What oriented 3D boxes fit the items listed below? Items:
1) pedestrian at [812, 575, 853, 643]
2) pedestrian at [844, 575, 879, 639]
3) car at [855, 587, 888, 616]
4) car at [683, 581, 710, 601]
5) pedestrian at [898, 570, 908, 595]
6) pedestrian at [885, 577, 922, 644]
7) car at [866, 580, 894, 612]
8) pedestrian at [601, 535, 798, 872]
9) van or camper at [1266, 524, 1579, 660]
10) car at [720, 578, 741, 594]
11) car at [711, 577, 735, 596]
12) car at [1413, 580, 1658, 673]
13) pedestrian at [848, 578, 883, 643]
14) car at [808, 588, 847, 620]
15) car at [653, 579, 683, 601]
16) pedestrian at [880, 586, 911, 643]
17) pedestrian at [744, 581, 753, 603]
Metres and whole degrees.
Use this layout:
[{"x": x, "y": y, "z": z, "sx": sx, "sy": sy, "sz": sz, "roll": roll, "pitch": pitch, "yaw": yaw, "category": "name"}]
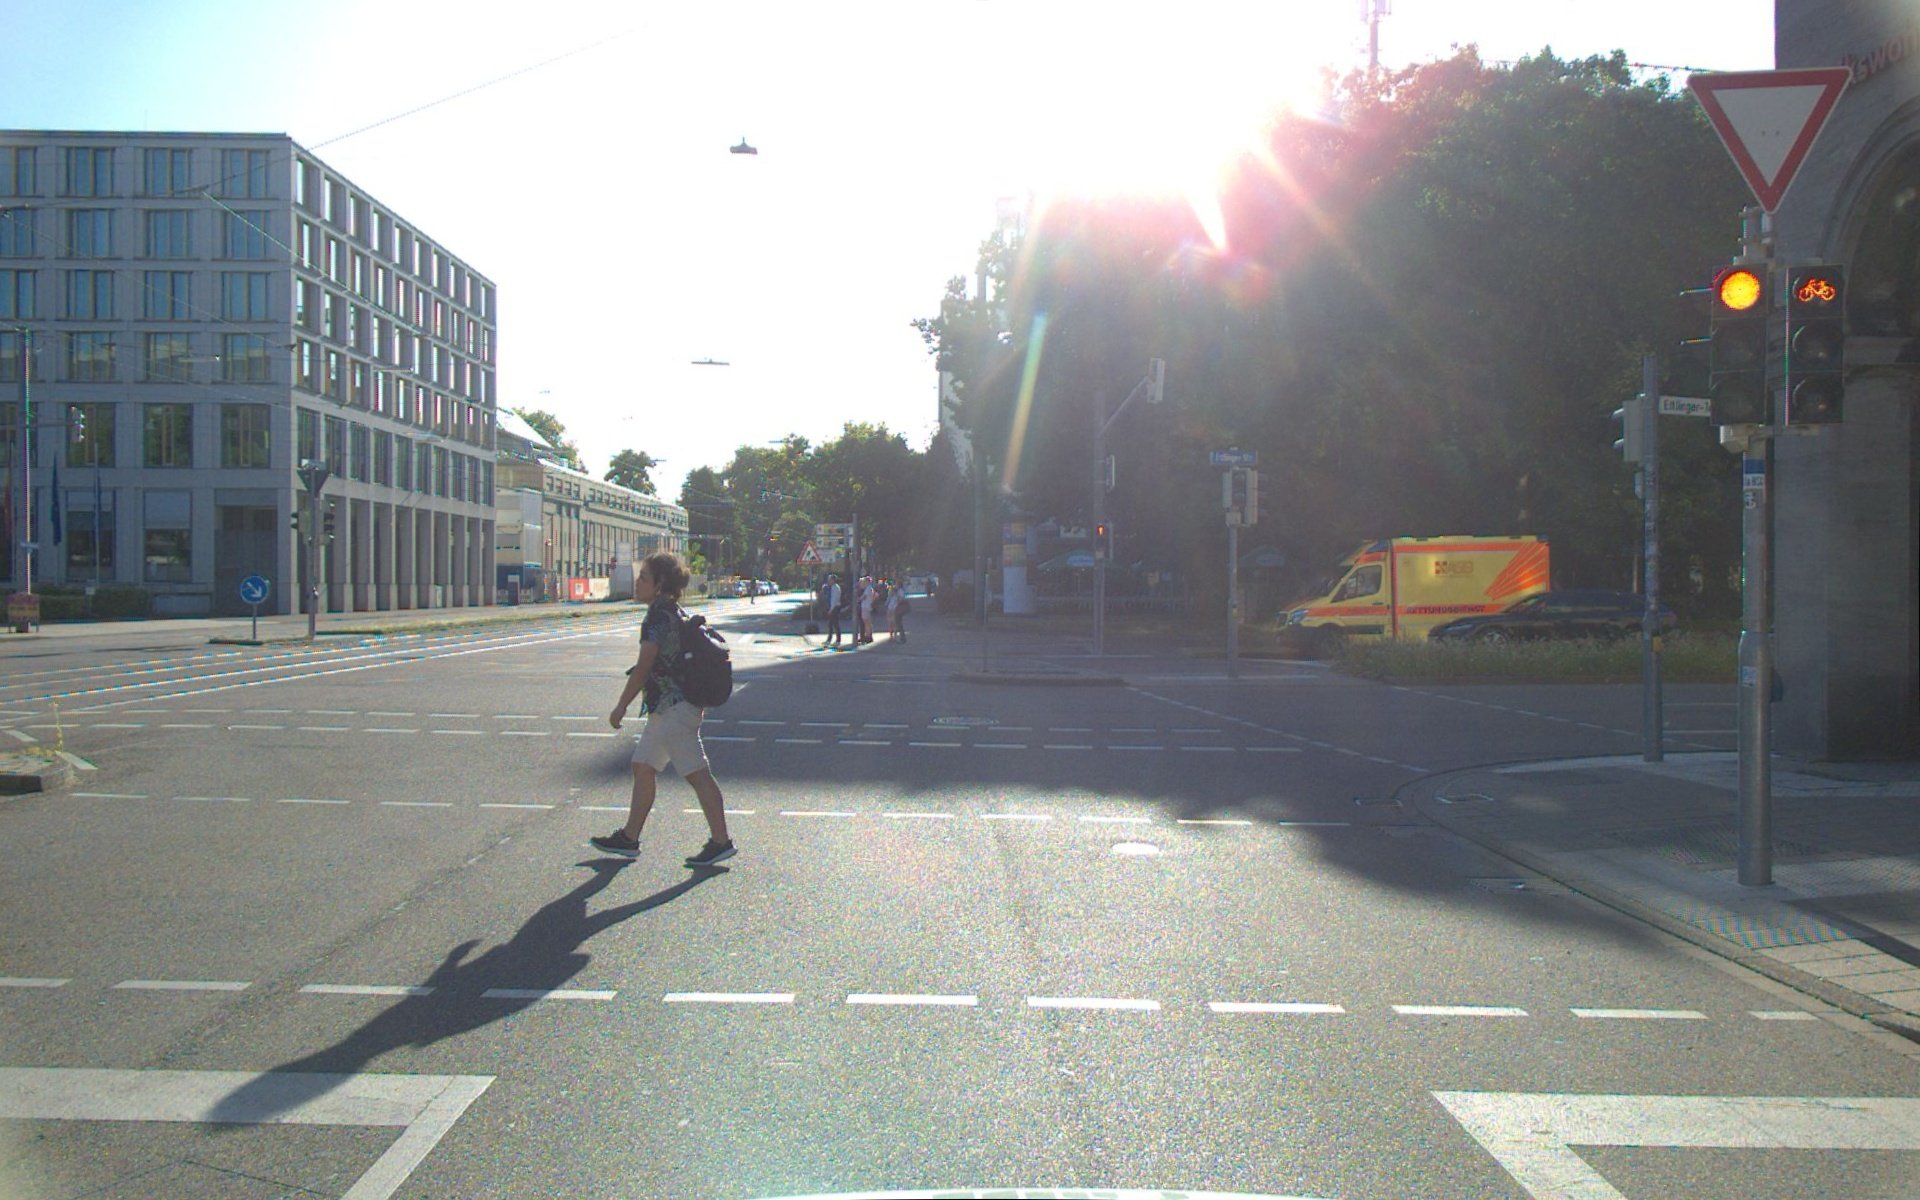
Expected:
[{"x": -3.460, "y": 0.246, "z": 44.857, "sx": 0.950, "sy": 1.815, "sz": 0.776, "roll": 0, "pitch": 0, "yaw": -17, "category": "pedestrian"}, {"x": -2.813, "y": 0.197, "z": 47.164, "sx": 0.834, "sy": 1.815, "sz": 0.776, "roll": 0, "pitch": 0, "yaw": -17, "category": "pedestrian"}, {"x": -4.905, "y": 0.120, "z": 91.913, "sx": 1.650, "sy": 1.527, "sz": 3.508, "roll": 2, "pitch": -1, "yaw": -1, "category": "car"}, {"x": -22.944, "y": -0.778, "z": 143.998, "sx": 1.782, "sy": 1.742, "sz": 3.805, "roll": 0, "pitch": 0, "yaw": -1, "category": "car"}, {"x": -8.463, "y": -2.593, "z": 245.715, "sx": 1.373, "sy": 3.660, "sz": 1.567, "roll": 2, "pitch": -1, "yaw": -1, "category": "pedestrian"}, {"x": -1.561, "y": 0.284, "z": 45.668, "sx": 0.834, "sy": 1.815, "sz": 0.776, "roll": 0, "pitch": 0, "yaw": -17, "category": "pedestrian"}, {"x": -5.164, "y": -0.222, "z": 107.526, "sx": 1.650, "sy": 1.996, "sz": 3.508, "roll": 2, "pitch": -1, "yaw": -1, "category": "car"}, {"x": -1.472, "y": 0.534, "z": 9.229, "sx": 1.021, "sy": 1.751, "sz": 1.032, "roll": 0, "pitch": 0, "yaw": -12, "category": "pedestrian"}, {"x": 10.693, "y": -0.172, "z": 38.807, "sx": 6.568, "sy": 2.911, "sz": 2.912, "roll": 2, "pitch": -1, "yaw": 3, "category": "van or camper"}, {"x": -22.177, "y": -1.383, "z": 159.856, "sx": 1.577, "sy": 1.524, "sz": 3.805, "roll": 0, "pitch": 0, "yaw": -1, "category": "car"}, {"x": -22.295, "y": -1.273, "z": 155.607, "sx": 1.782, "sy": 1.742, "sz": 3.805, "roll": 0, "pitch": 0, "yaw": -1, "category": "car"}, {"x": 11.457, "y": 0.529, "z": 33.094, "sx": 4.226, "sy": 1.676, "sz": 1.887, "roll": 2, "pitch": -1, "yaw": -1, "category": "car"}, {"x": -2.657, "y": 0.288, "z": 46.372, "sx": 0.834, "sy": 1.815, "sz": 0.776, "roll": 0, "pitch": 0, "yaw": -17, "category": "pedestrian"}, {"x": -6.515, "y": 0.215, "z": 81.729, "sx": 1.650, "sy": 1.527, "sz": 3.508, "roll": 2, "pitch": -1, "yaw": -1, "category": "car"}, {"x": -23.511, "y": -0.828, "z": 133.091, "sx": 1.782, "sy": 1.742, "sz": 3.805, "roll": 0, "pitch": 0, "yaw": -1, "category": "car"}, {"x": -1.815, "y": 0.414, "z": 46.491, "sx": 0.750, "sy": 1.586, "sz": 0.585, "roll": 0, "pitch": 0, "yaw": -17, "category": "pedestrian"}, {"x": -14.290, "y": -0.533, "z": 111.706, "sx": 0.513, "sy": 1.510, "sz": 0.437, "roll": 2, "pitch": -1, "yaw": -2, "category": "pedestrian"}]
